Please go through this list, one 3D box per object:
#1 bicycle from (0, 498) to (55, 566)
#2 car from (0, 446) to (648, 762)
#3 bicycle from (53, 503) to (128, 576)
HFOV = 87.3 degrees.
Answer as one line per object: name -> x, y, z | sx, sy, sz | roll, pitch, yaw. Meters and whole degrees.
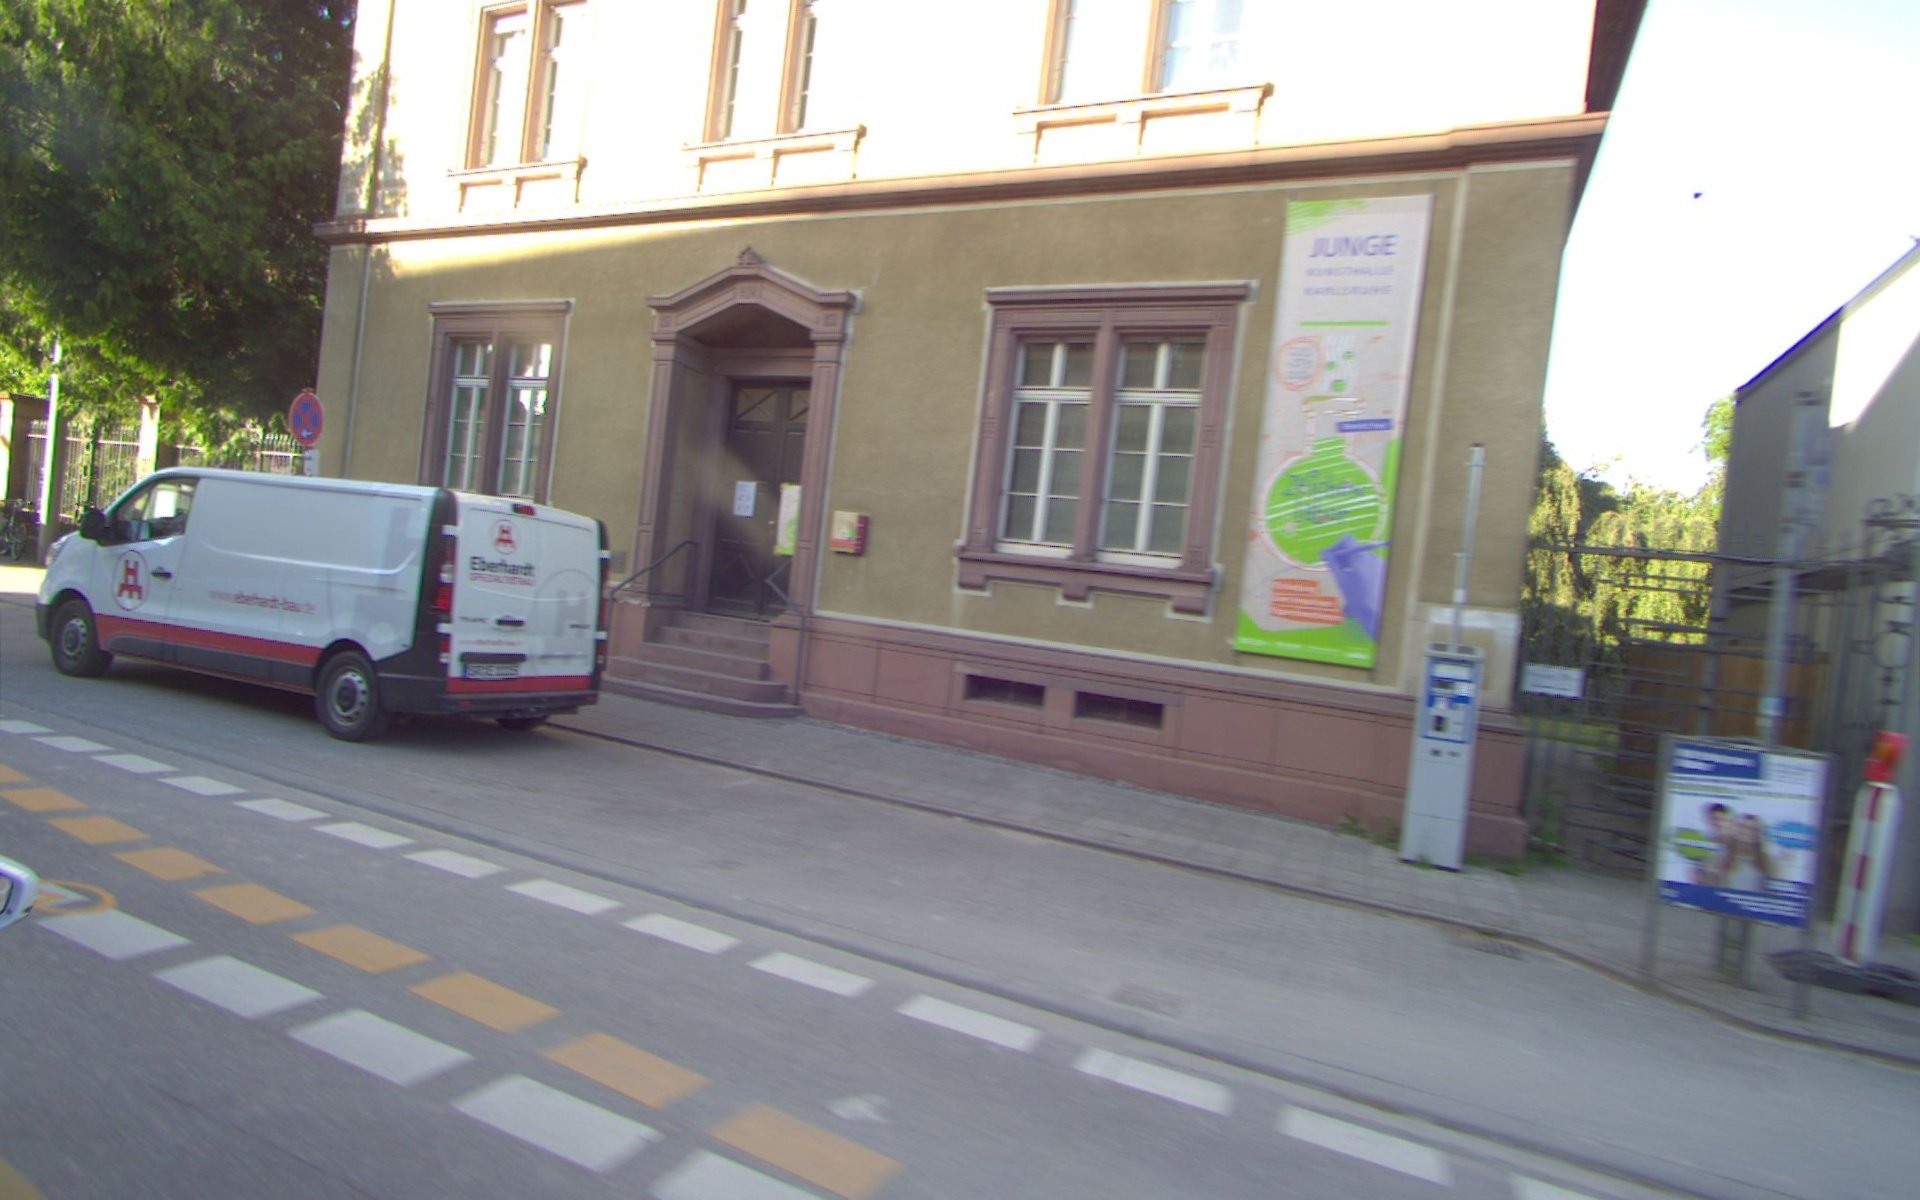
bicycle -> -18.041, -1.329, 19.212 | 1.894, 1.144, 0.396 | 7, 1, 27
car -> -5.722, -0.055, 8.959 | 5.380, 1.969, 2.021 | 6, -1, 22
bicycle -> -15.950, -1.118, 18.445 | 1.795, 1.172, 0.418 | 7, 3, 29
